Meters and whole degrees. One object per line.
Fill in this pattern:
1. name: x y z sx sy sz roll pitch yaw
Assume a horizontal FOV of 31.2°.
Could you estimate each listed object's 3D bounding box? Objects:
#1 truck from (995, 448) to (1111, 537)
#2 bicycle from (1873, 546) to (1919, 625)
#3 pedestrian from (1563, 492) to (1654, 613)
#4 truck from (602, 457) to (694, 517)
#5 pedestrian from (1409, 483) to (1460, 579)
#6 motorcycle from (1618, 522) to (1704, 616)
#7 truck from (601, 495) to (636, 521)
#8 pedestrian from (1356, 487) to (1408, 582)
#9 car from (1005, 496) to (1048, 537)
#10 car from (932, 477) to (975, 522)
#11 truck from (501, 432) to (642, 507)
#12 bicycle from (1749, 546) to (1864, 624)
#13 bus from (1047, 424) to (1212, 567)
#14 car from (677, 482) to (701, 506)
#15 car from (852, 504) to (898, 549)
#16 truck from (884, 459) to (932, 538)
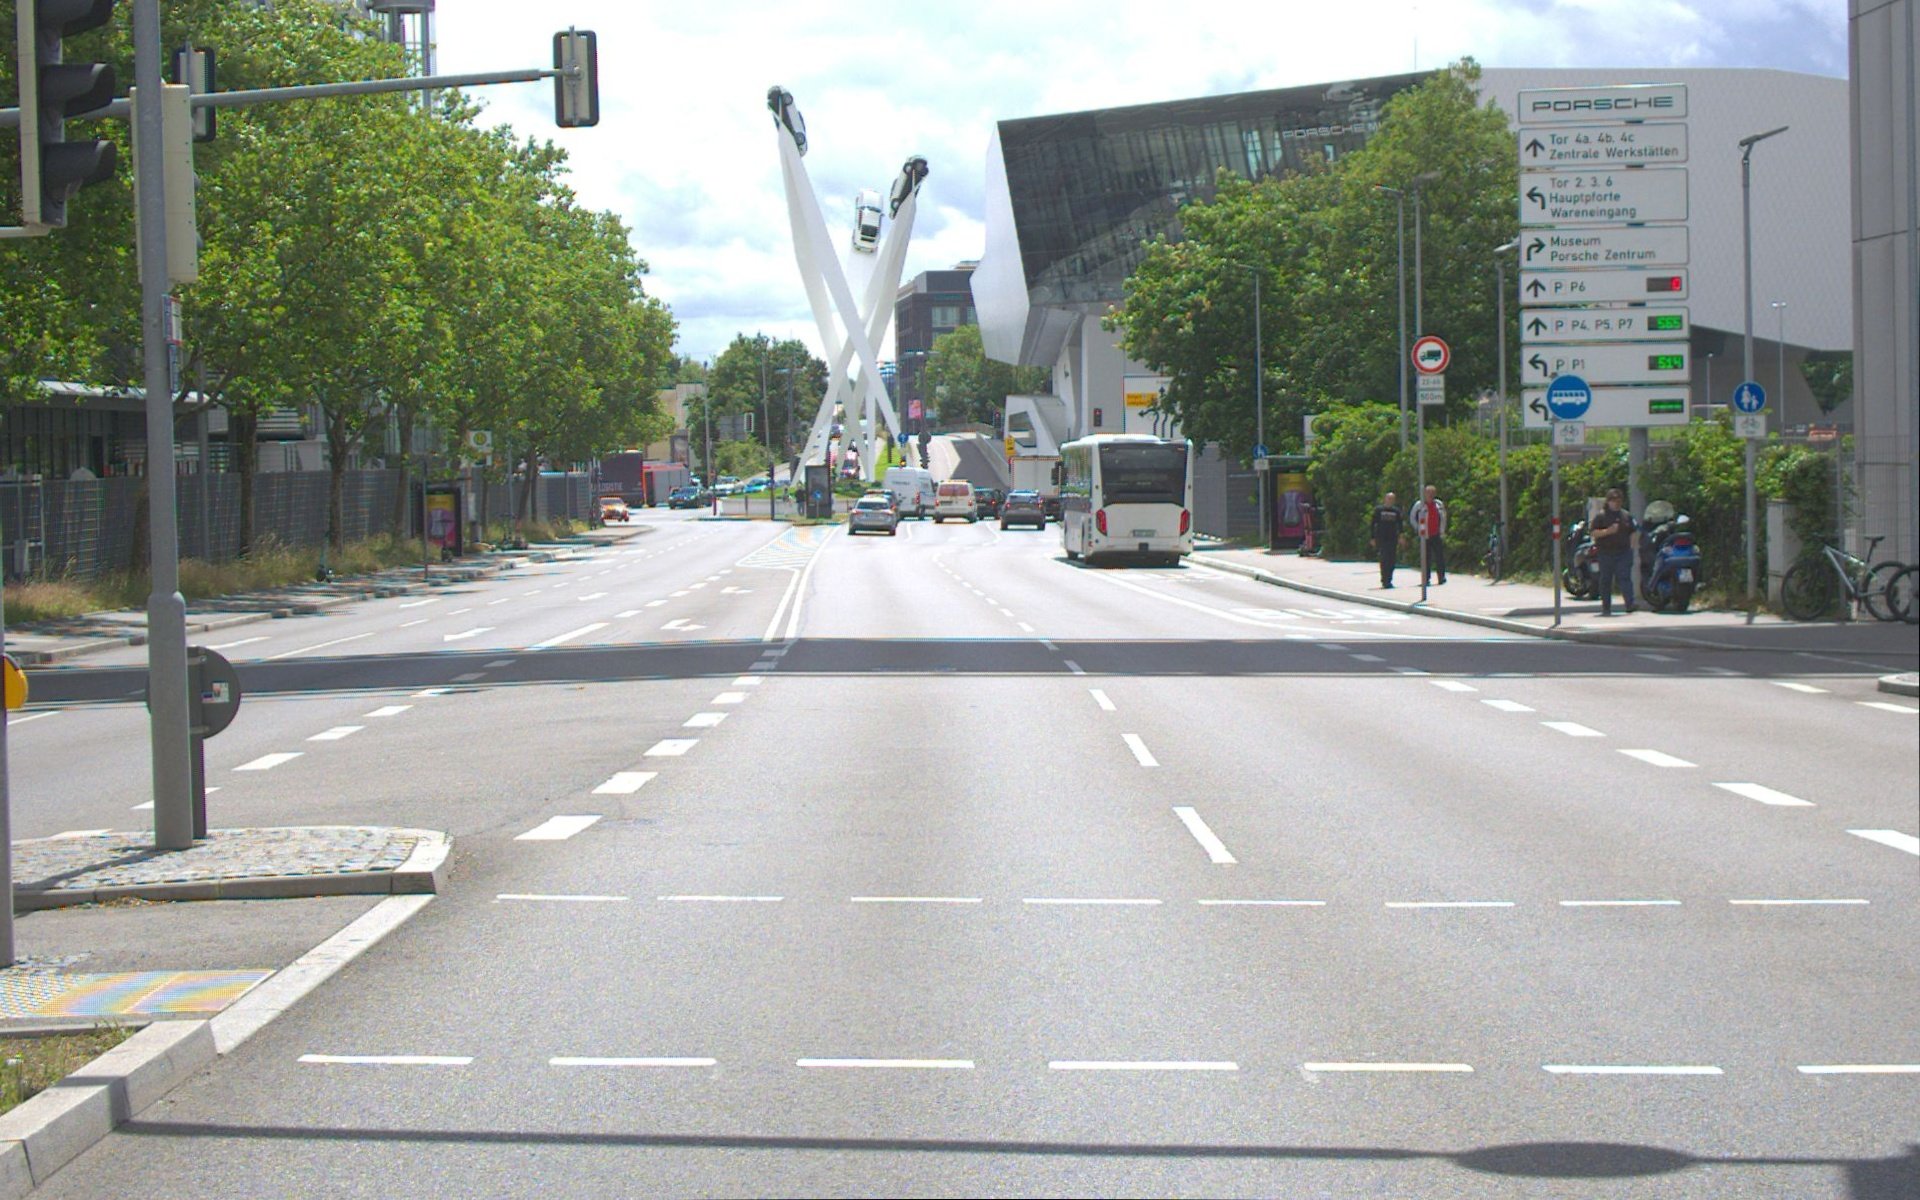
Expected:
1. truck: 4.766 -5.368 173.260 3.455 4.376 9.413 0 1 17
2. bicycle: 11.588 -0.168 40.585 0.397 0.933 1.929 -1 1 -26
3. pedestrian: 8.796 -0.655 46.601 0.849 1.619 0.954 1 2 41
4. truck: -21.556 -7.774 238.058 2.482 3.880 7.066 1 0 33
5. pedestrian: 8.600 -1.260 62.367 0.820 1.735 0.637 0 1 -1
6. motorcycle: 9.528 -0.432 46.789 0.706 1.199 2.024 -2 2 -1
7. truck: -20.268 -5.476 203.929 1.583 1.532 3.680 0 1 -13
8. pedestrian: 7.677 -1.192 62.552 0.820 1.701 0.881 0 1 -1
9. car: 2.809 -3.541 146.073 1.738 1.735 3.692 0 1 -1
10. car: -0.309 -4.830 165.259 1.993 2.007 4.000 1 0 -1
11. truck: -24.732 -8.243 219.584 3.567 4.309 12.153 1 0 22
12. bicycle: 10.538 -0.198 42.871 0.397 0.933 1.929 0 1 -19
13. bus: 4.333 -2.701 90.277 3.452 3.531 10.607 0 1 -2
14. car: -18.055 -7.067 229.128 1.583 1.532 3.679 0 1 -5
15. car: -3.322 -2.872 134.326 1.738 1.735 3.692 0 1 -1
16. truck: -2.617 -5.117 173.967 2.392 3.884 6.178 0 1 -1
